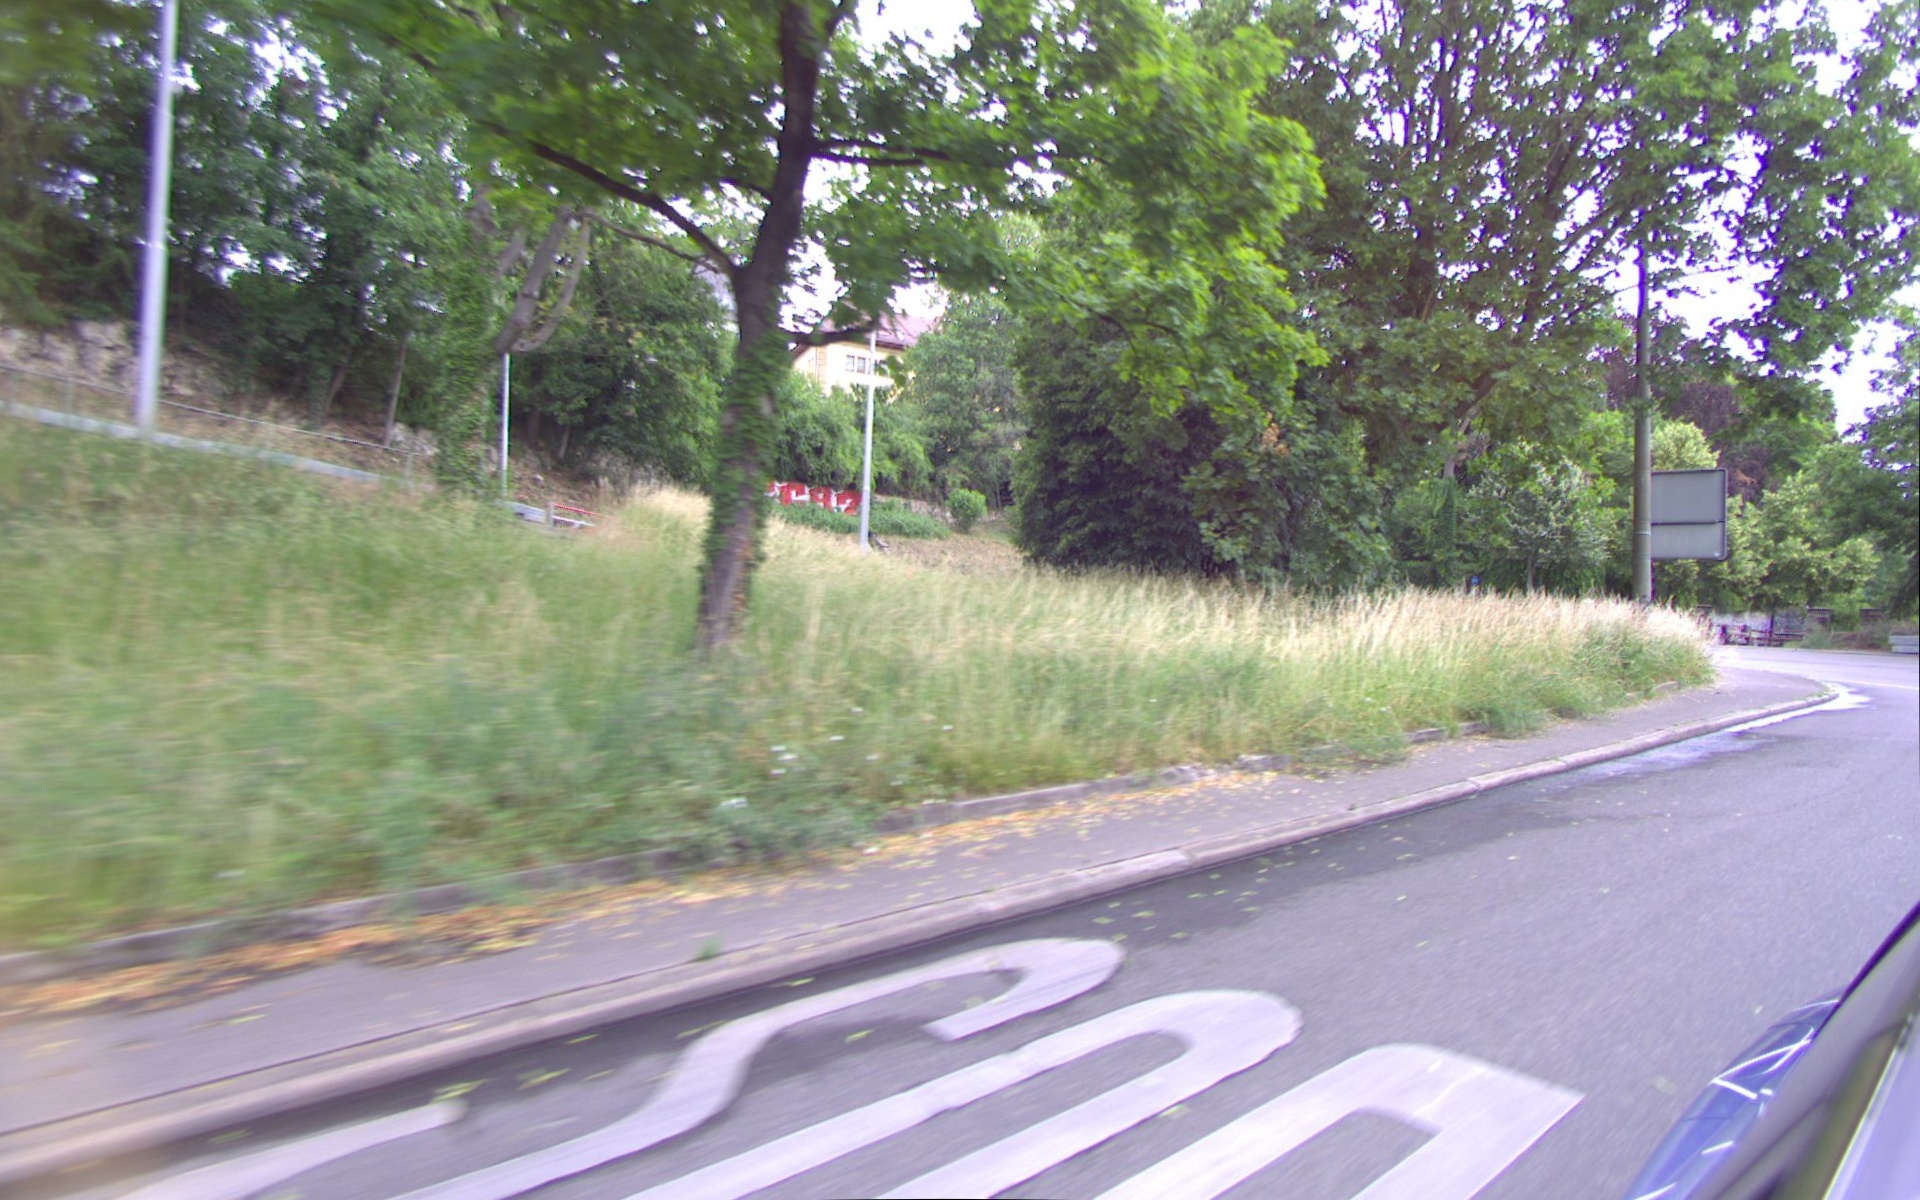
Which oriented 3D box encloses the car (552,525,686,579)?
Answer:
[{"bbox_3d":[-10.869,-1.476,32.493,1.783,1.529,3.961,0,0,28],"label":"car"}]
